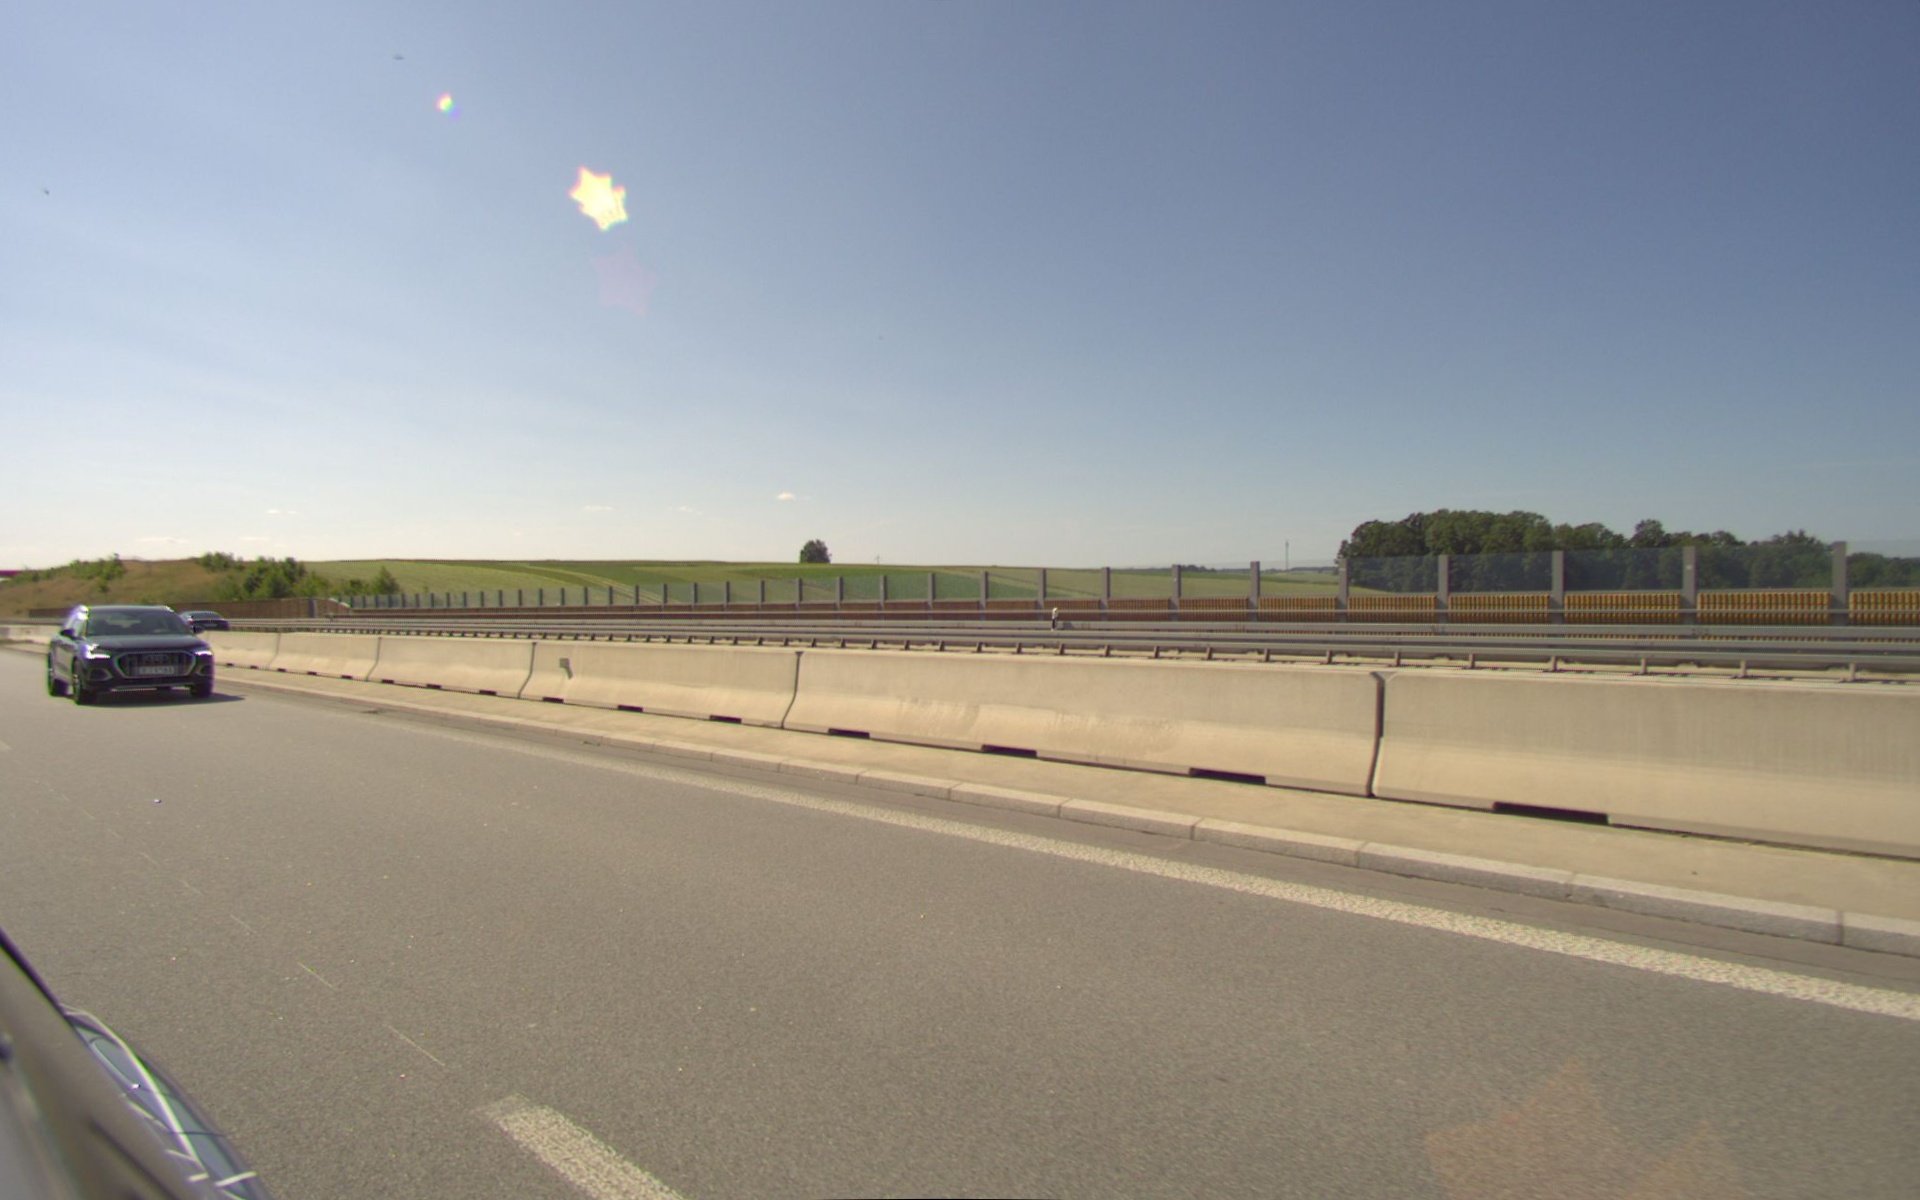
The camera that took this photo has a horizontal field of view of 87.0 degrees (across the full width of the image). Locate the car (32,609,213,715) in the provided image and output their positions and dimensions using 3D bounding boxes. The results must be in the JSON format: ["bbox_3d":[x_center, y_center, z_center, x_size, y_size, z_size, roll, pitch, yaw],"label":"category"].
[{"bbox_3d":[-14.950,0.992,17.955,5.220,1.599,1.704,-1,0,42],"label":"car"}]

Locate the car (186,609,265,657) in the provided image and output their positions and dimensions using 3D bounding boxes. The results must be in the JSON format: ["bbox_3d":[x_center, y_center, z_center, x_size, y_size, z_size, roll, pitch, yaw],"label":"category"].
[{"bbox_3d":[-33.328,1.452,45.854,4.760,2.029,1.972,-1,0,42],"label":"car"}]
